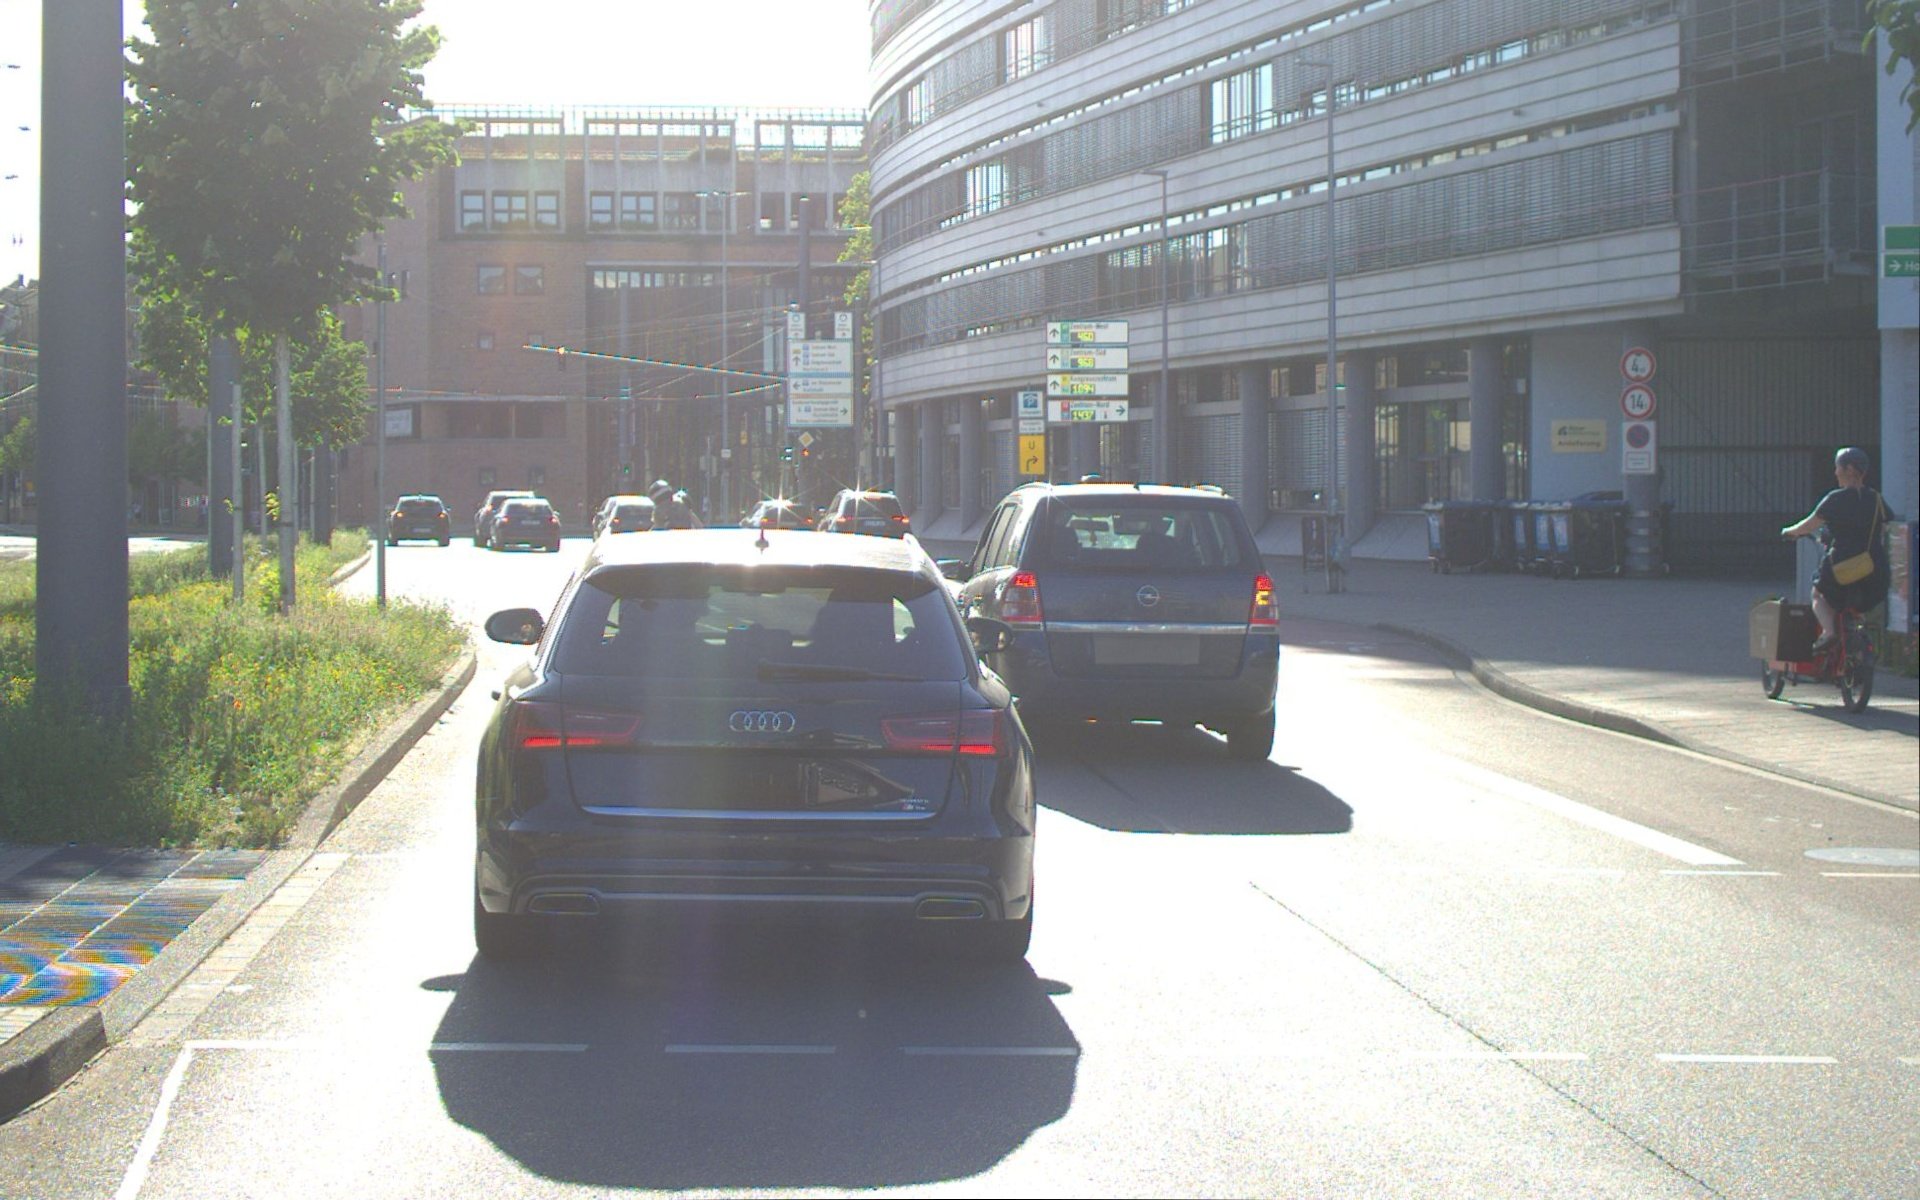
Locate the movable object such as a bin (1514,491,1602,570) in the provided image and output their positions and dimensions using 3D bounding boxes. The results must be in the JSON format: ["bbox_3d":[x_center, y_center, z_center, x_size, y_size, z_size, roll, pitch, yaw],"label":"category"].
[{"bbox_3d":[10.202,-1.199,58.715,1.059,1.327,1.125,-1,2,-21],"label":"movable object such as a bin"}]

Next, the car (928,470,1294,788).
[{"bbox_3d":[0.838,0.087,21.645,1.745,1.690,4.262,3,3,-4],"label":"car"}]

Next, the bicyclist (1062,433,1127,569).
[{"bbox_3d":[1.664,-1.229,42.355,0.654,1.637,0.971,1,3,10],"label":"bicyclist"}]

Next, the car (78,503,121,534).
[{"bbox_3d":[-48.150,-4.553,192.363,1.993,1.700,4.001,-1,2,-19],"label":"car"}]

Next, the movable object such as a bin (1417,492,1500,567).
[{"bbox_3d":[8.973,-1.283,61.892,1.059,1.327,1.125,-1,2,-21],"label":"movable object such as a bin"}]

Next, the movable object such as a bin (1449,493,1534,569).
[{"bbox_3d":[9.401,-1.224,60.848,1.059,1.327,1.125,-1,2,-21],"label":"movable object such as a bin"}]

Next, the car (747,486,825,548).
[{"bbox_3d":[-5.320,-2.543,104.468,1.993,1.831,4.001,-1,2,-8],"label":"car"}]

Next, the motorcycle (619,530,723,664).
[{"bbox_3d":[-3.189,-0.048,37.792,0.862,1.388,1.894,0,2,-13],"label":"motorcycle"}]

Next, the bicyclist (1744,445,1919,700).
[{"bbox_3d":[5.946,-0.202,23.482,0.766,1.700,0.931,0,2,-16],"label":"bicyclist"}]

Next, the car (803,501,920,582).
[{"bbox_3d":[-2.445,-1.452,83.997,2.002,1.709,4.374,1,3,-13],"label":"car"}]

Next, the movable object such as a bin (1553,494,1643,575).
[{"bbox_3d":[10.669,-1.107,57.534,1.059,1.327,1.125,-1,2,-21],"label":"movable object such as a bin"}]

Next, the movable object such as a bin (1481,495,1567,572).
[{"bbox_3d":[9.800,-1.165,59.789,1.059,1.327,1.125,-1,2,-21],"label":"movable object such as a bin"}]

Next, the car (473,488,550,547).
[{"bbox_3d":[-13.312,-2.473,101.800,1.993,1.700,4.001,-1,2,-11],"label":"car"}]

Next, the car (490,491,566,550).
[{"bbox_3d":[-11.980,-2.221,95.245,1.993,1.590,4.001,-1,2,-8],"label":"car"}]

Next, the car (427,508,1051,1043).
[{"bbox_3d":[-0.721,0.483,12.412,1.842,1.448,4.001,2,3,-2],"label":"car"}]

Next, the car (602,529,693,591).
[{"bbox_3d":[-8.414,-1.092,92.316,1.993,1.590,4.001,-1,2,-12],"label":"car"}]

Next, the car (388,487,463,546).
[{"bbox_3d":[-15.690,-2.459,100.799,1.993,1.700,4.001,-1,2,-11],"label":"car"}]

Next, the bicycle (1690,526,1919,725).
[{"bbox_3d":[5.888,0.147,23.694,0.766,1.258,2.083,0,3,-16],"label":"bicycle"}]

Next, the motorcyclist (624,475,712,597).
[{"bbox_3d":[-3.216,-0.712,37.834,0.862,1.321,0.681,0,2,-13],"label":"motorcyclist"}]
